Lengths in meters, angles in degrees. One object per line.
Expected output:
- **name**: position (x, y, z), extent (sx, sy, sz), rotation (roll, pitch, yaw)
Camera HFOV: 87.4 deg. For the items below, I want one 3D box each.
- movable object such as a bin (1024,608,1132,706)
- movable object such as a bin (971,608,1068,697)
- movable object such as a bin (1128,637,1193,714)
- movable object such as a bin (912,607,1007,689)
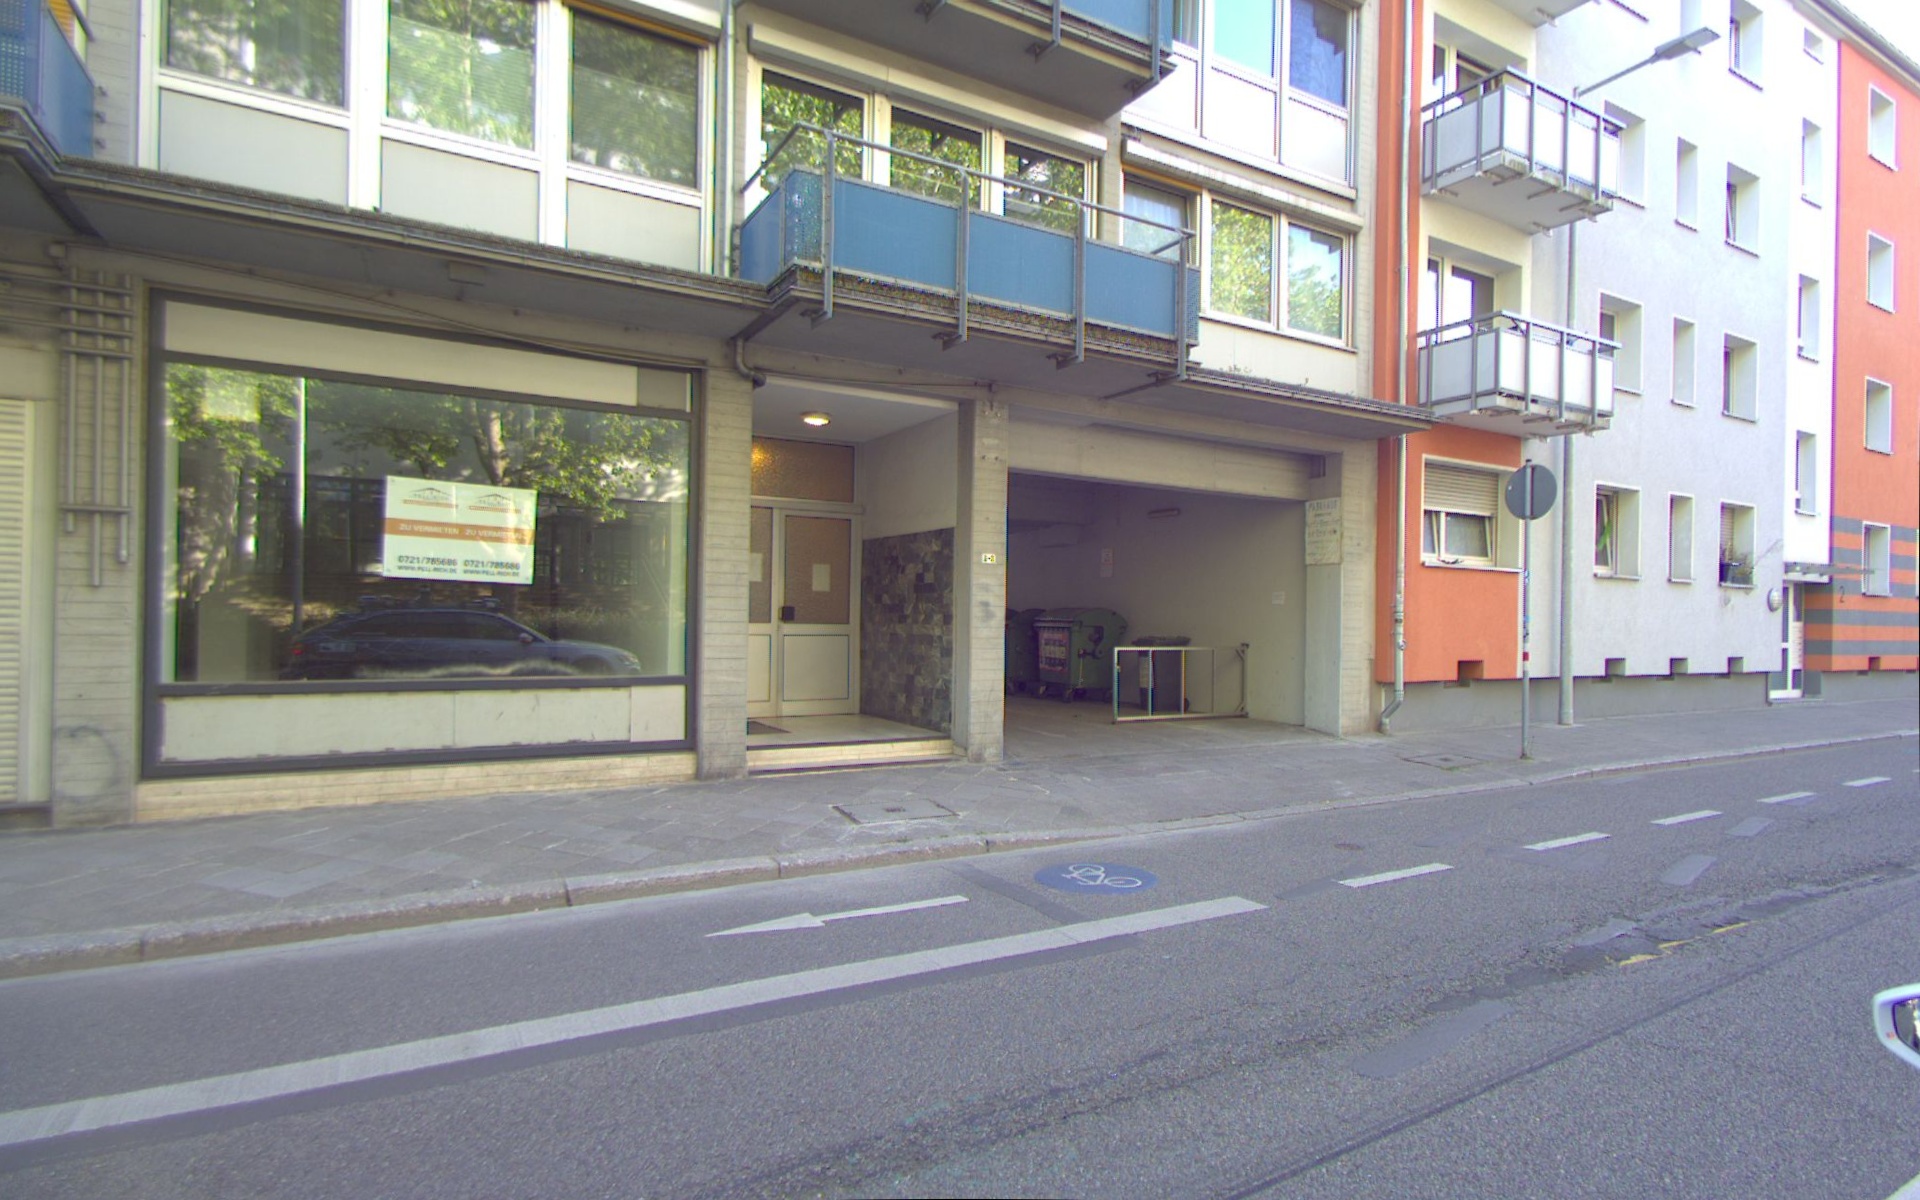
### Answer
- **movable object such as a bin**: position (1.850, 0.862, 15.855), extent (1.128, 1.449, 1.342), rotation (1, 0, -28)
- **movable object such as a bin**: position (0.998, 0.868, 17.178), extent (1.119, 1.449, 1.322), rotation (1, 0, -28)
- **movable object such as a bin**: position (2.899, 1.075, 14.537), extent (0.695, 1.055, 0.593), rotation (2, 0, -30)
- **movable object such as a bin**: position (-0.029, 0.865, 18.881), extent (1.119, 1.449, 1.666), rotation (1, 0, -28)
